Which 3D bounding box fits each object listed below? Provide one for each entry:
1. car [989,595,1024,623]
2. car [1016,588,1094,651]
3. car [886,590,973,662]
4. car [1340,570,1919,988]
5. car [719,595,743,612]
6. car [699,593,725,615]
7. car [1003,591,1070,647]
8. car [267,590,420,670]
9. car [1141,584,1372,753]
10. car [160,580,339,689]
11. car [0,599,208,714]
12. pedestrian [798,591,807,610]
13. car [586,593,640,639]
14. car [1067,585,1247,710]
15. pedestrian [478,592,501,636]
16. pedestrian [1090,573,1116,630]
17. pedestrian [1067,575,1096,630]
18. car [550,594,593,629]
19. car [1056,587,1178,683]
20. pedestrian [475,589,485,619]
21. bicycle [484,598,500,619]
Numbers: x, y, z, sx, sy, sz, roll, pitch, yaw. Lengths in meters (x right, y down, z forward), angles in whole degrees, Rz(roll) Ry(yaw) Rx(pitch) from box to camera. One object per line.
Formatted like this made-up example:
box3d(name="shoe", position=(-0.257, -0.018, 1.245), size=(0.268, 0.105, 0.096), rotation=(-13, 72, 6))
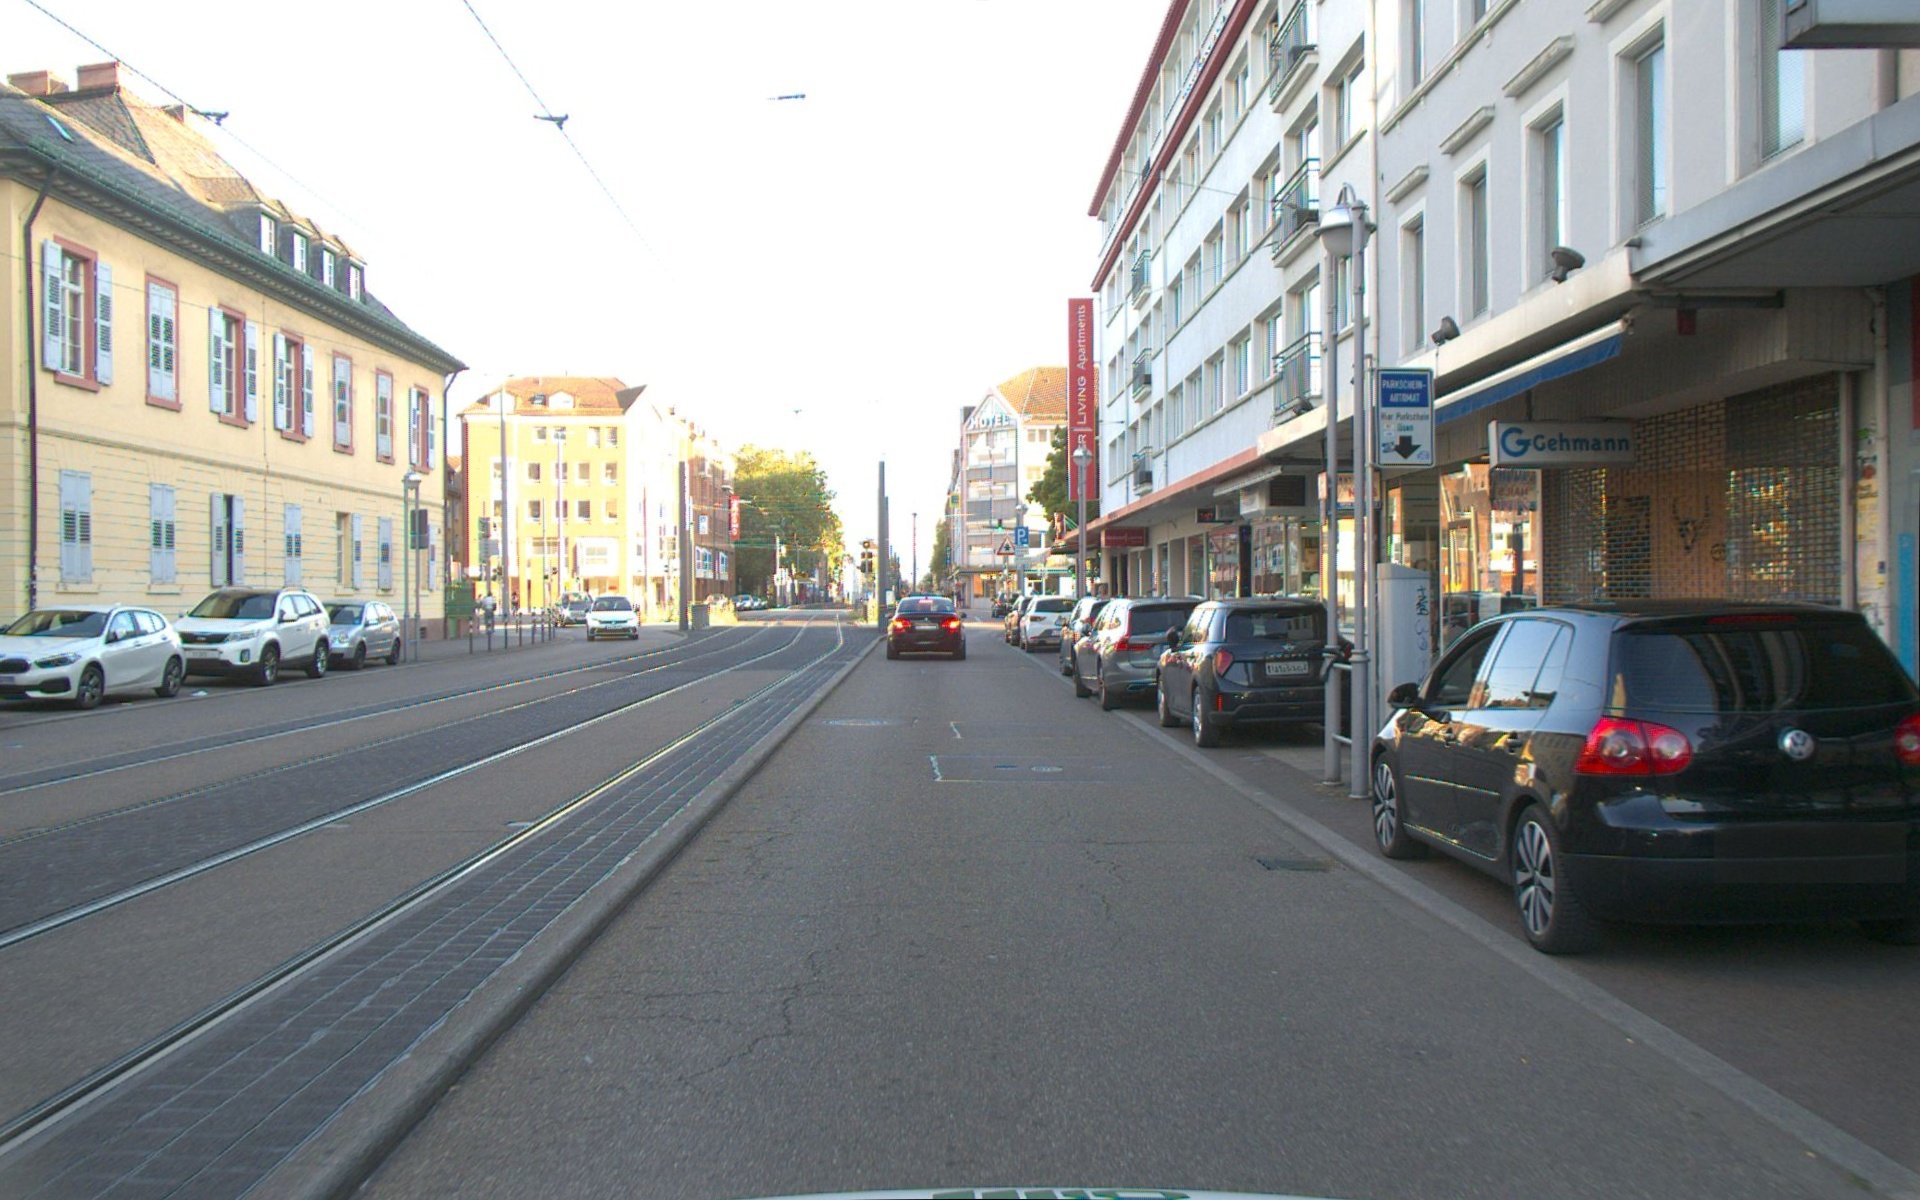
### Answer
box3d(name="car", position=(2.781, 0.529, 100.137), size=(1.953, 1.579, 3.999), rotation=(-1, 0, -1))
box3d(name="car", position=(2.475, 0.493, 44.091), size=(1.749, 1.538, 4.051), rotation=(-2, 0, -1))
box3d(name="car", position=(-0.749, 0.577, 39.550), size=(1.953, 1.612, 3.999), rotation=(-1, 0, -1))
box3d(name="car", position=(3.290, 0.662, 8.369), size=(1.685, 1.538, 4.166), rotation=(-2, 0, -1))
box3d(name="car", position=(-22.051, 0.337, 159.470), size=(1.954, 1.612, 4.583), rotation=(-1, 0, -4))
box3d(name="car", position=(-22.296, 0.305, 148.746), size=(1.954, 1.934, 4.808), rotation=(-1, 0, -4))
box3d(name="car", position=(2.236, 0.527, 49.379), size=(1.700, 1.538, 4.685), rotation=(-2, 0, -1))
box3d(name="car", position=(-13.616, 0.609, 36.776), size=(1.775, 1.645, 4.215), rotation=(-1, 0, 0))
box3d(name="car", position=(3.033, 0.640, 17.694), size=(1.651, 1.538, 4.034), rotation=(-2, 0, -1))
box3d(name="car", position=(-13.189, 0.591, 30.987), size=(1.778, 1.817, 4.491), rotation=(2, 0, -6))
box3d(name="car", position=(-13.259, 0.778, 24.936), size=(1.775, 1.538, 4.432), rotation=(-1, 0, 0))
box3d(name="pedestrian", position=(-17.446, 0.065, 183.138), size=(0.968, 2.049, 0.725), rotation=(1, 0, -3))
box3d(name="car", position=(-12.114, 0.540, 57.834), size=(1.774, 1.538, 4.023), rotation=(-1, 0, -12))
box3d(name="car", position=(2.666, 0.593, 23.422), size=(1.754, 1.538, 4.710), rotation=(-2, 0, -2))
box3d(name="pedestrian", position=(-17.573, 0.513, 61.792), size=(0.718, 1.612, 0.952), rotation=(-1, 0, -10))
box3d(name="pedestrian", position=(4.542, 0.053, 52.601), size=(0.714, 1.771, 0.863), rotation=(-2, 0, -1))
box3d(name="pedestrian", position=(3.917, 0.085, 53.548), size=(0.810, 1.748, 0.843), rotation=(-2, 0, -1))
box3d(name="car", position=(-17.807, 0.510, 75.866), size=(1.704, 1.538, 4.024), rotation=(-1, 0, -11))
box3d(name="car", position=(2.758, 0.577, 29.854), size=(1.700, 1.538, 4.302), rotation=(-2, 0, -1))
box3d(name="pedestrian", position=(-31.270, 0.247, 107.717), size=(0.492, 1.900, 0.562), rotation=(1, 0, -7))
box3d(name="bicycle", position=(-30.598, 0.540, 108.227), size=(0.606, 1.348, 2.013), rotation=(1, 0, -5))
